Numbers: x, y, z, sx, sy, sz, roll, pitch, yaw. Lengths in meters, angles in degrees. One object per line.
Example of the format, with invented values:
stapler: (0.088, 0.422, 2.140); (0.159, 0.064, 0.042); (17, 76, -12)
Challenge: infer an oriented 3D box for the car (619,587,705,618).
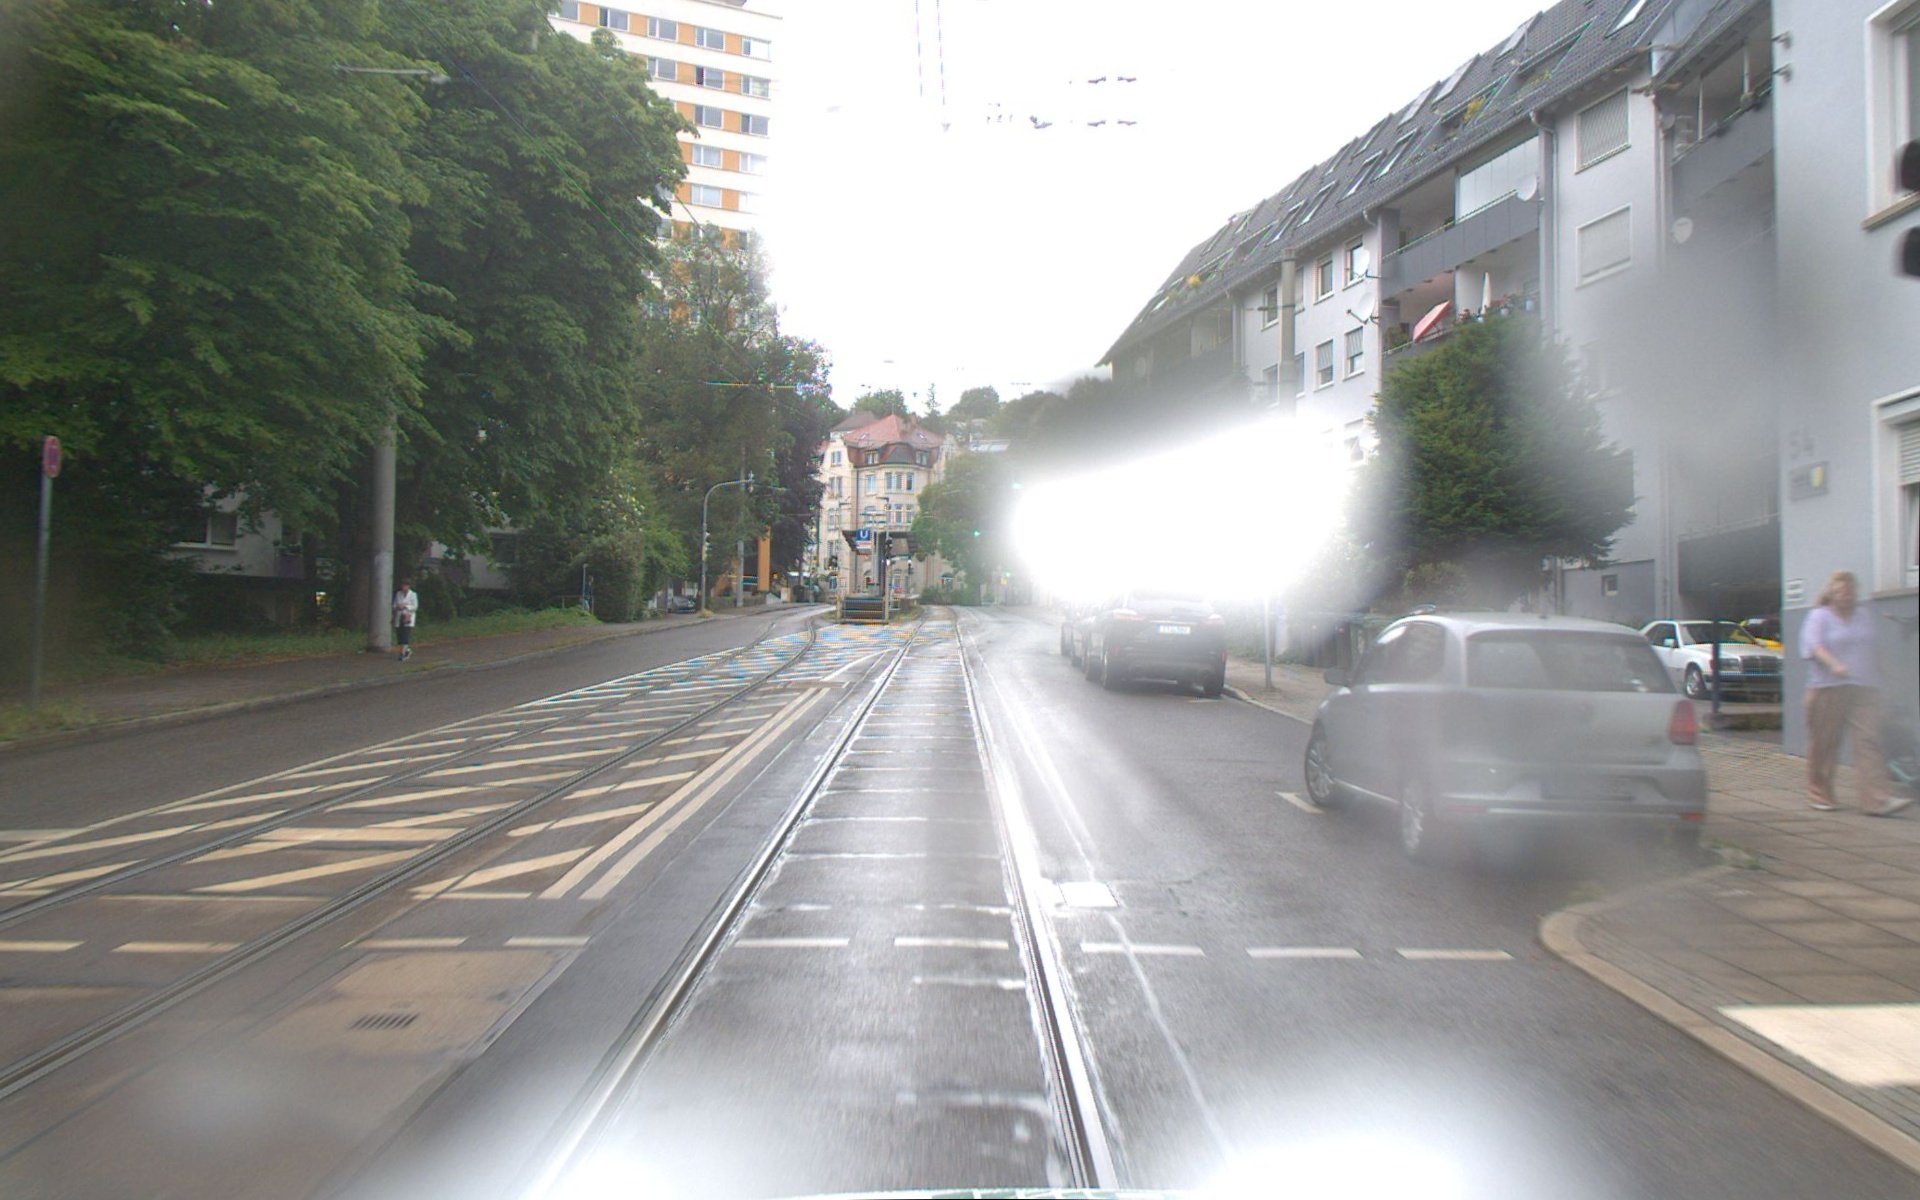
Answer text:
car: (-14.892, 0.125, 82.782); (3.905, 1.431, 1.682); (0, -4, 22)

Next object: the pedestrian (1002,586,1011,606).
pedestrian: (3.639, -0.330, 130.305); (0.567, 1.492, 0.543); (2, -4, -8)

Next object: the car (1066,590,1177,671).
car: (3.178, 0.584, 33.205); (1.670, 1.453, 4.249); (2, 0, -1)

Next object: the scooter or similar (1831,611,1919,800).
scooter or similar: (6.779, 0.719, 11.626); (0.562, 1.271, 1.611); (1, 0, 5)

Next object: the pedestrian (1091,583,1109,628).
pedestrian: (5.186, 0.210, 61.261); (0.630, 1.657, 0.700); (1, -2, 6)

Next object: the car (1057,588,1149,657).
car: (3.256, 0.502, 38.228); (1.670, 1.451, 3.861); (2, 0, -1)

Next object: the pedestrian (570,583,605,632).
pedestrian: (-13.319, 0.259, 59.199); (0.897, 1.707, 0.740); (0, -4, 24)

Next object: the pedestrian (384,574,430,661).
pedestrian: (-10.698, 0.345, 32.018); (0.571, 1.628, 0.868); (3, -1, -4)

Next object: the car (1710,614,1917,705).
car: (15.793, 1.051, 30.843); (1.650, 1.548, 4.203); (1, 0, -1)

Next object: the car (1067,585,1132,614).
car: (8.450, -0.045, 100.332); (3.765, 1.570, 1.806); (2, -2, -2)

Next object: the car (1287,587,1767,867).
car: (3.484, 0.694, 11.019); (1.670, 1.458, 4.100); (2, 0, -1)

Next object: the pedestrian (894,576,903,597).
pedestrian: (-4.640, -1.006, 124.727); (0.644, 1.492, 0.772); (1, -4, 2)

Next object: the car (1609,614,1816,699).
car: (13.780, 0.988, 30.594); (1.740, 1.403, 4.429); (1, 0, -1)

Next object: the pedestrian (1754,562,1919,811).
pedestrian: (5.960, 0.554, 11.123); (0.864, 1.611, 0.801); (0, 1, 1)

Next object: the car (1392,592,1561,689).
car: (9.236, 0.793, 29.902); (1.685, 1.541, 4.202); (2, -4, -1)

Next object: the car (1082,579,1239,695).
car: (3.196, 0.563, 27.306); (1.868, 1.670, 4.688); (2, 0, -1)

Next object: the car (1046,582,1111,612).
car: (7.445, -0.178, 104.038); (3.906, 1.674, 1.807); (2, -2, -1)
